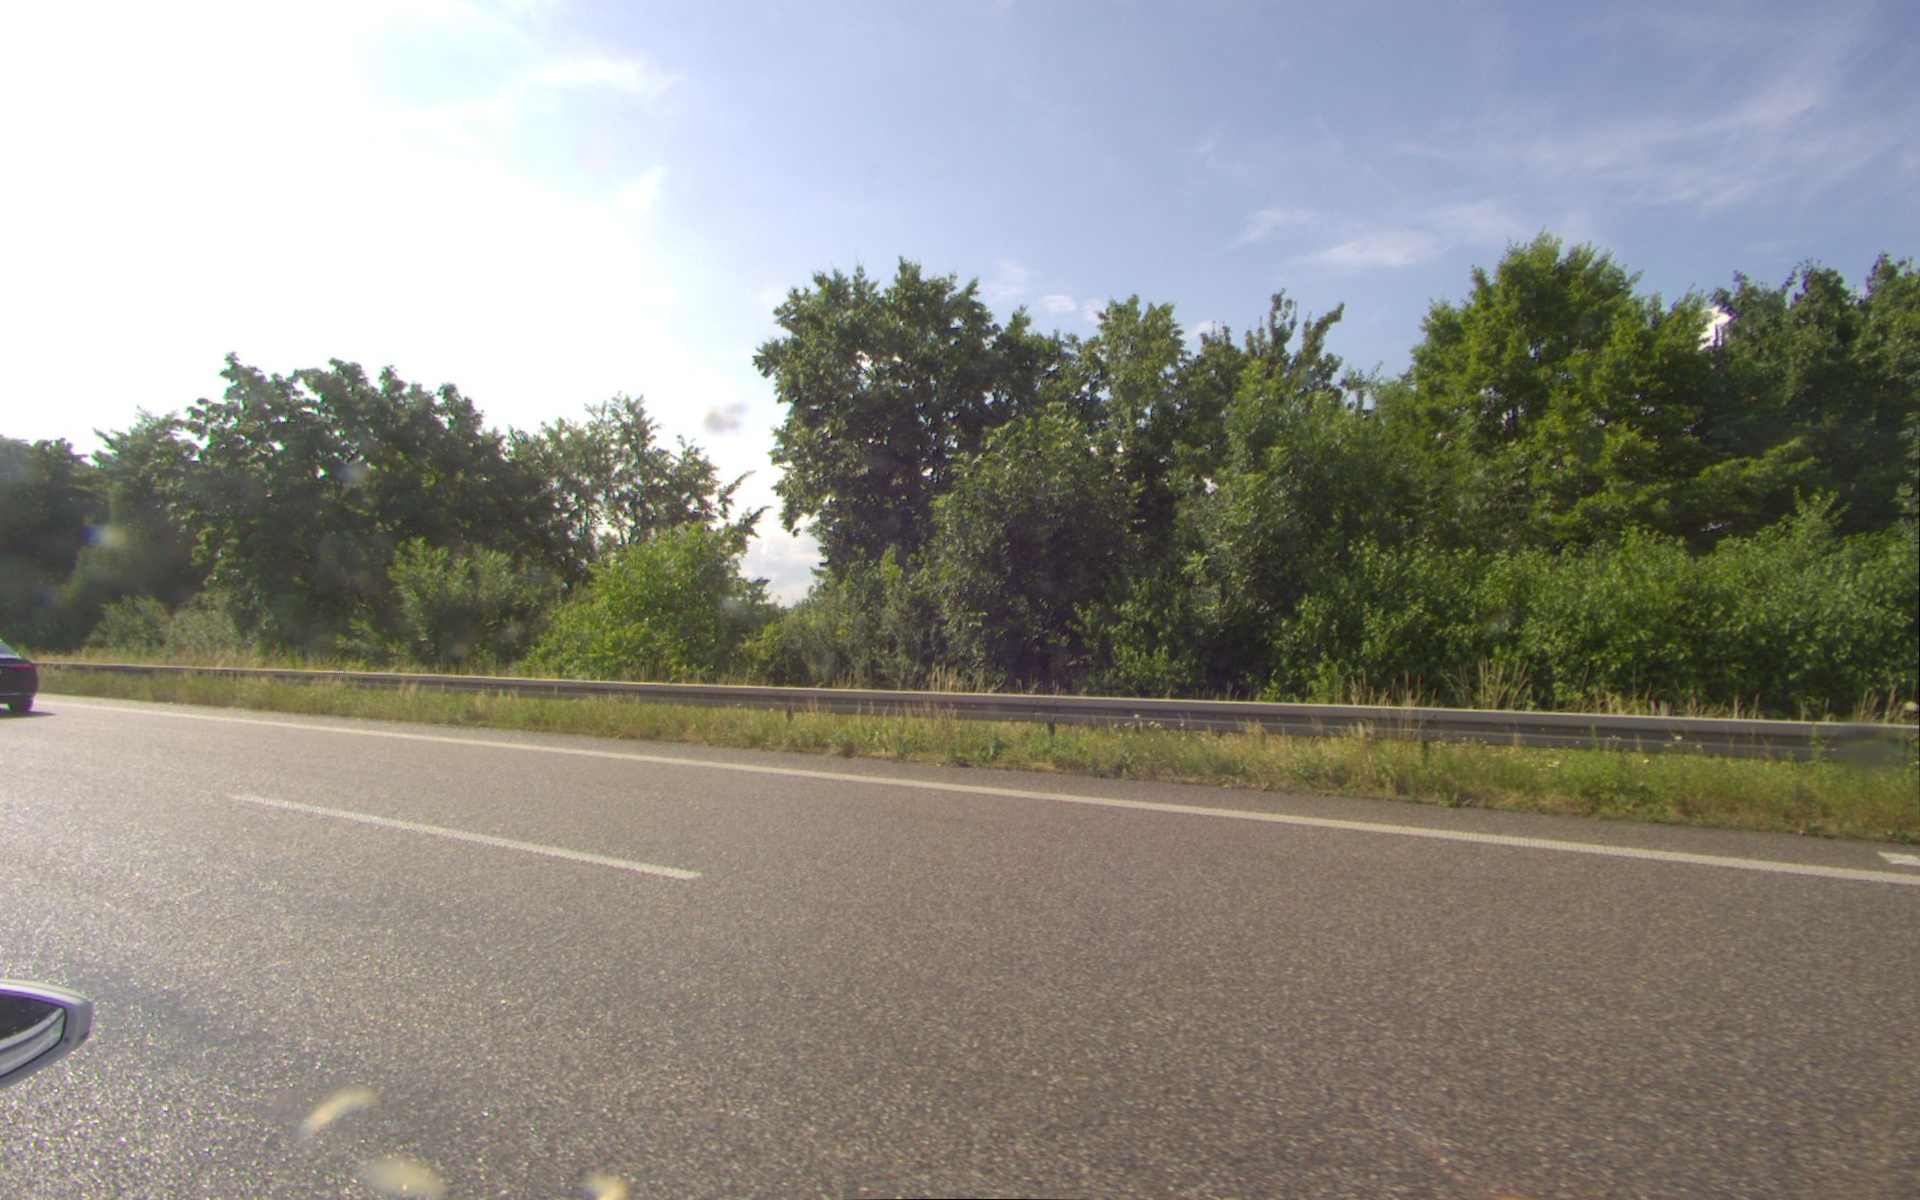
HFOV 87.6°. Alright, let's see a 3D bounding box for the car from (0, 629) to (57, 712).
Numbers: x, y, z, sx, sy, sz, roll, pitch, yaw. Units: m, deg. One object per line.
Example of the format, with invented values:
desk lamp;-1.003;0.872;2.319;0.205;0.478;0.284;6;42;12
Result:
car;-19.392;1.327;19.185;3.938;1.513;1.876;-1;-2;28
